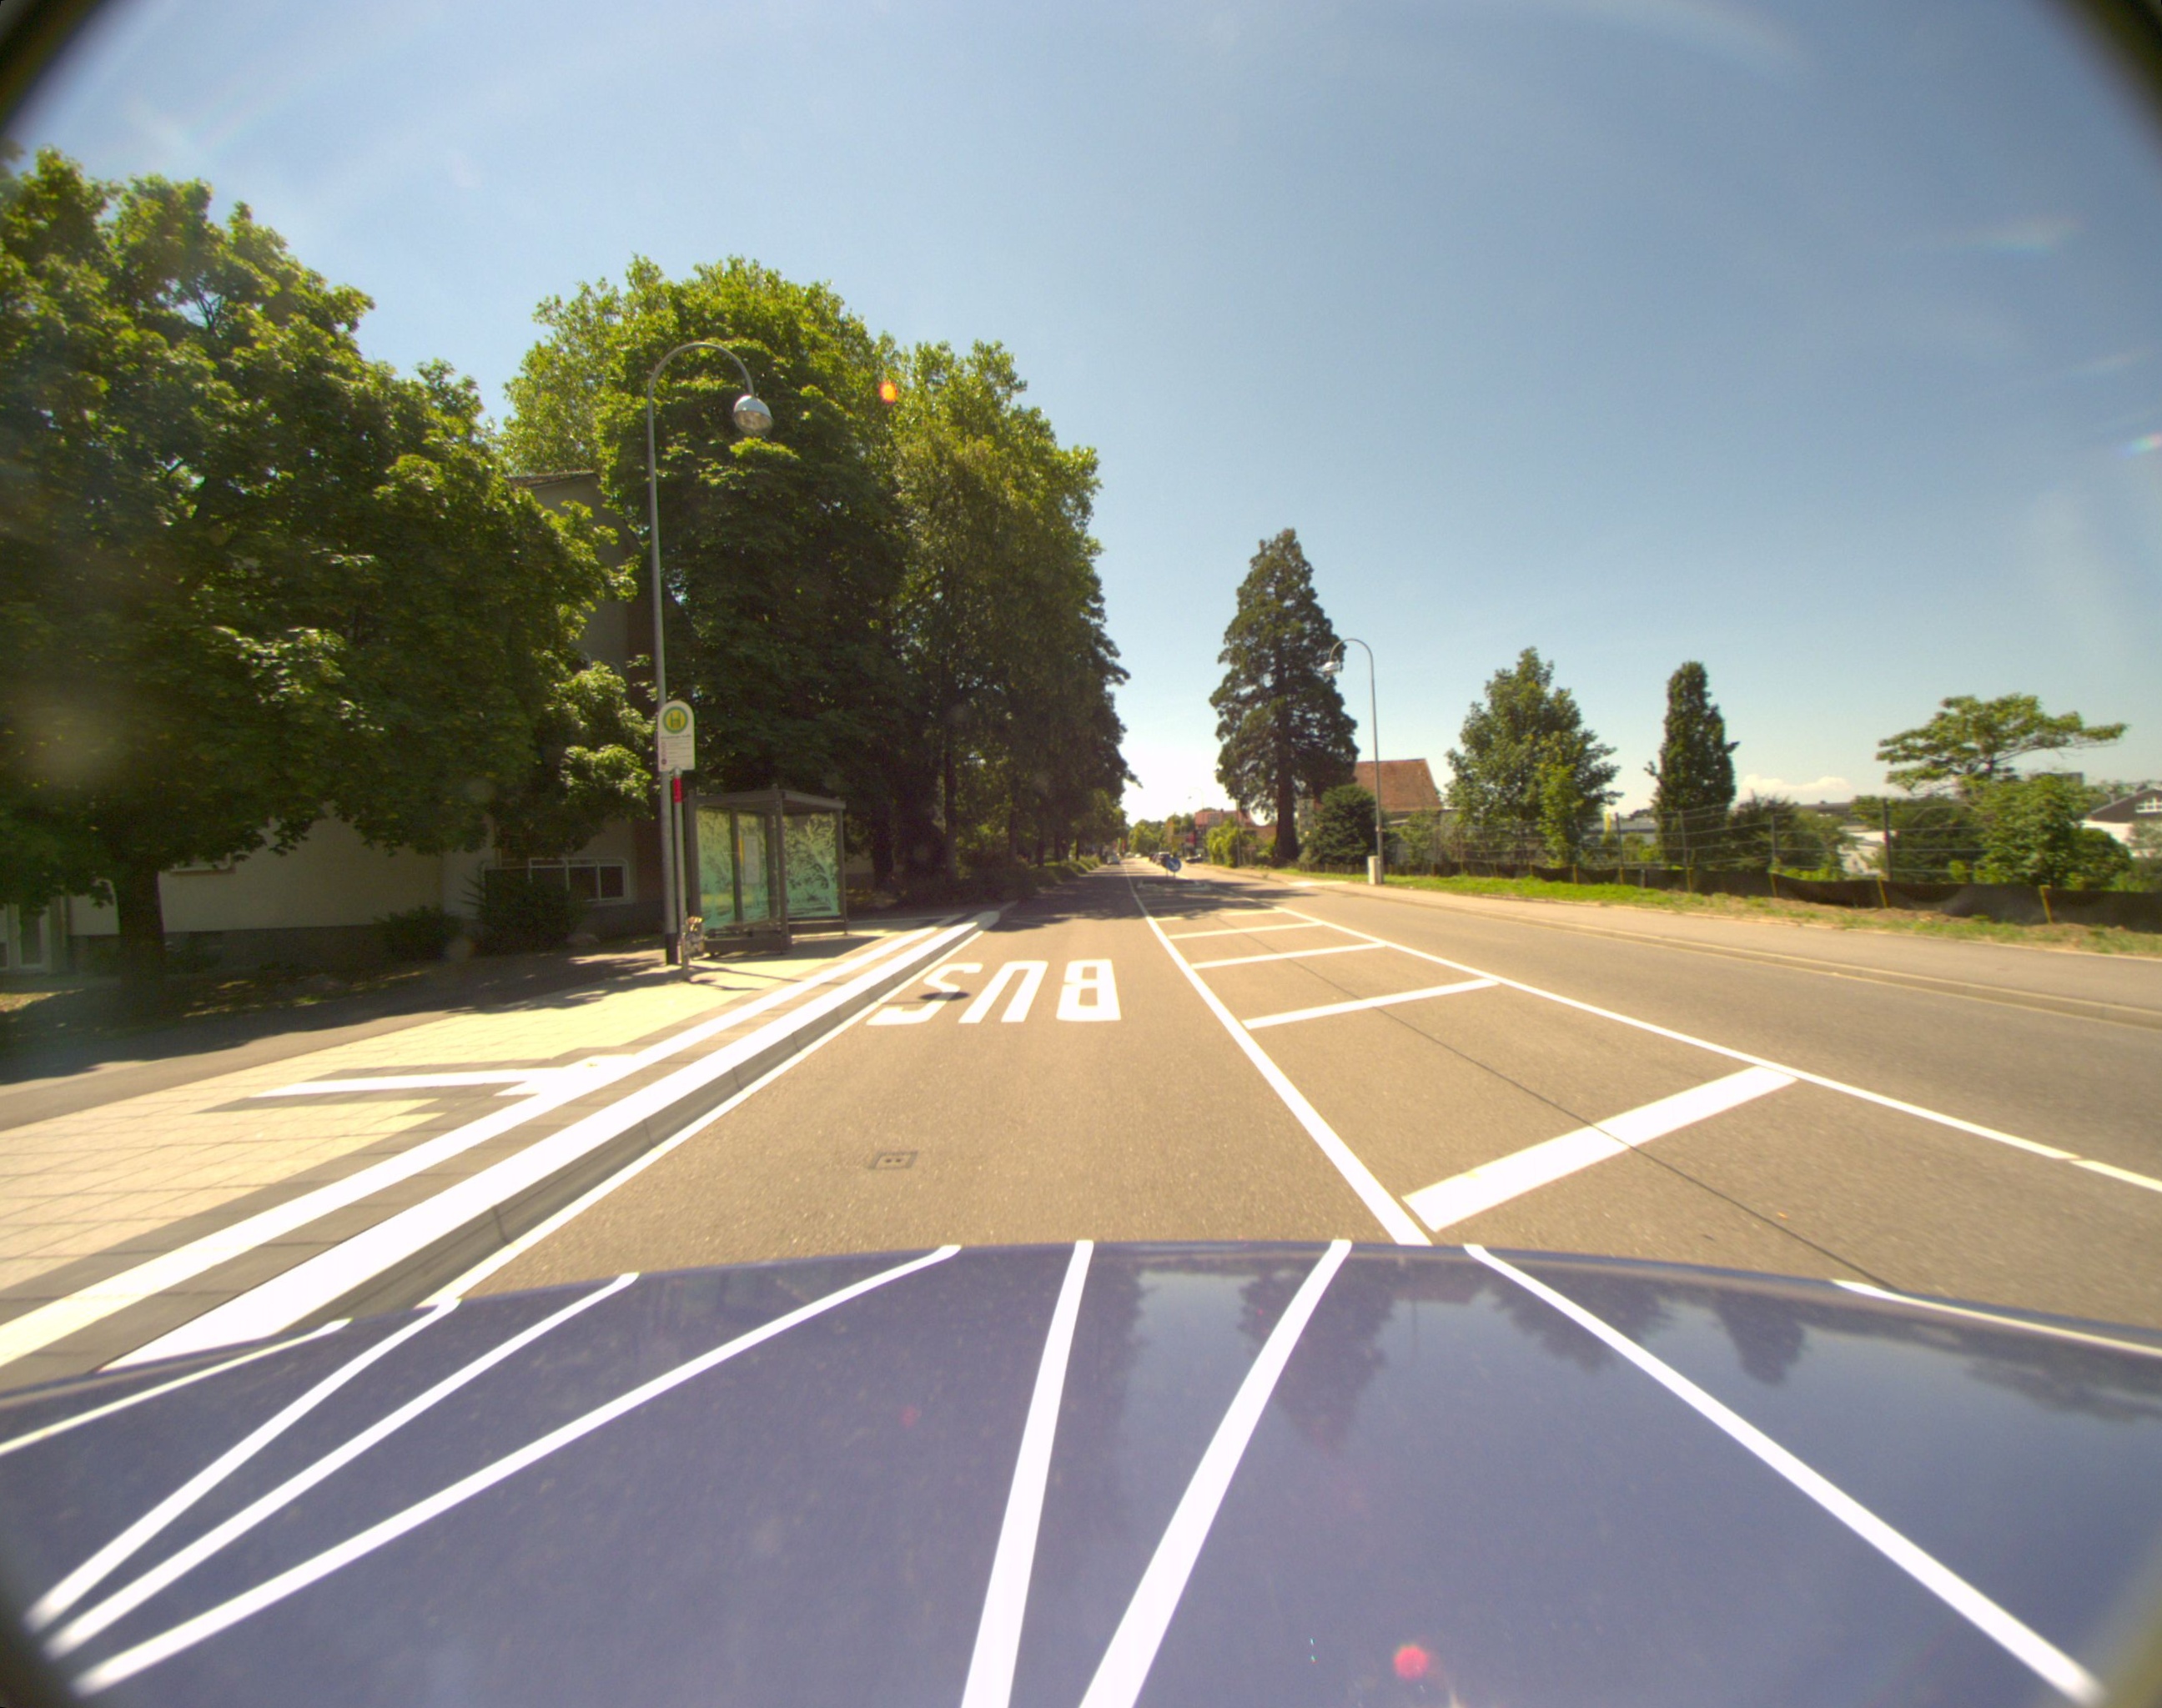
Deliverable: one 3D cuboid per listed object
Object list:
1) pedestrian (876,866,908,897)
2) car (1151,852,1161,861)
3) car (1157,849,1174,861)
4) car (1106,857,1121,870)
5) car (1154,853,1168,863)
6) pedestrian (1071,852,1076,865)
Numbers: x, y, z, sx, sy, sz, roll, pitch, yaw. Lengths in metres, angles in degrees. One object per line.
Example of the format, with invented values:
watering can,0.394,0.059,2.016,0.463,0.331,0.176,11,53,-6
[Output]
pedestrian,-8.489,1.236,34.118,0.940,1.285,1.070,-2,1,15
car,14.415,0.496,146.349,1.883,1.731,4.322,-2,0,5
car,11.027,0.113,99.151,1.787,1.635,4.689,0,0,1
car,4.502,1.250,104.580,1.883,1.623,4.322,-2,0,5
car,12.836,0.615,121.491,1.883,1.540,4.321,-2,0,2
pedestrian,-1.072,0.708,112.319,0.677,1.914,0.621,-2,1,3
